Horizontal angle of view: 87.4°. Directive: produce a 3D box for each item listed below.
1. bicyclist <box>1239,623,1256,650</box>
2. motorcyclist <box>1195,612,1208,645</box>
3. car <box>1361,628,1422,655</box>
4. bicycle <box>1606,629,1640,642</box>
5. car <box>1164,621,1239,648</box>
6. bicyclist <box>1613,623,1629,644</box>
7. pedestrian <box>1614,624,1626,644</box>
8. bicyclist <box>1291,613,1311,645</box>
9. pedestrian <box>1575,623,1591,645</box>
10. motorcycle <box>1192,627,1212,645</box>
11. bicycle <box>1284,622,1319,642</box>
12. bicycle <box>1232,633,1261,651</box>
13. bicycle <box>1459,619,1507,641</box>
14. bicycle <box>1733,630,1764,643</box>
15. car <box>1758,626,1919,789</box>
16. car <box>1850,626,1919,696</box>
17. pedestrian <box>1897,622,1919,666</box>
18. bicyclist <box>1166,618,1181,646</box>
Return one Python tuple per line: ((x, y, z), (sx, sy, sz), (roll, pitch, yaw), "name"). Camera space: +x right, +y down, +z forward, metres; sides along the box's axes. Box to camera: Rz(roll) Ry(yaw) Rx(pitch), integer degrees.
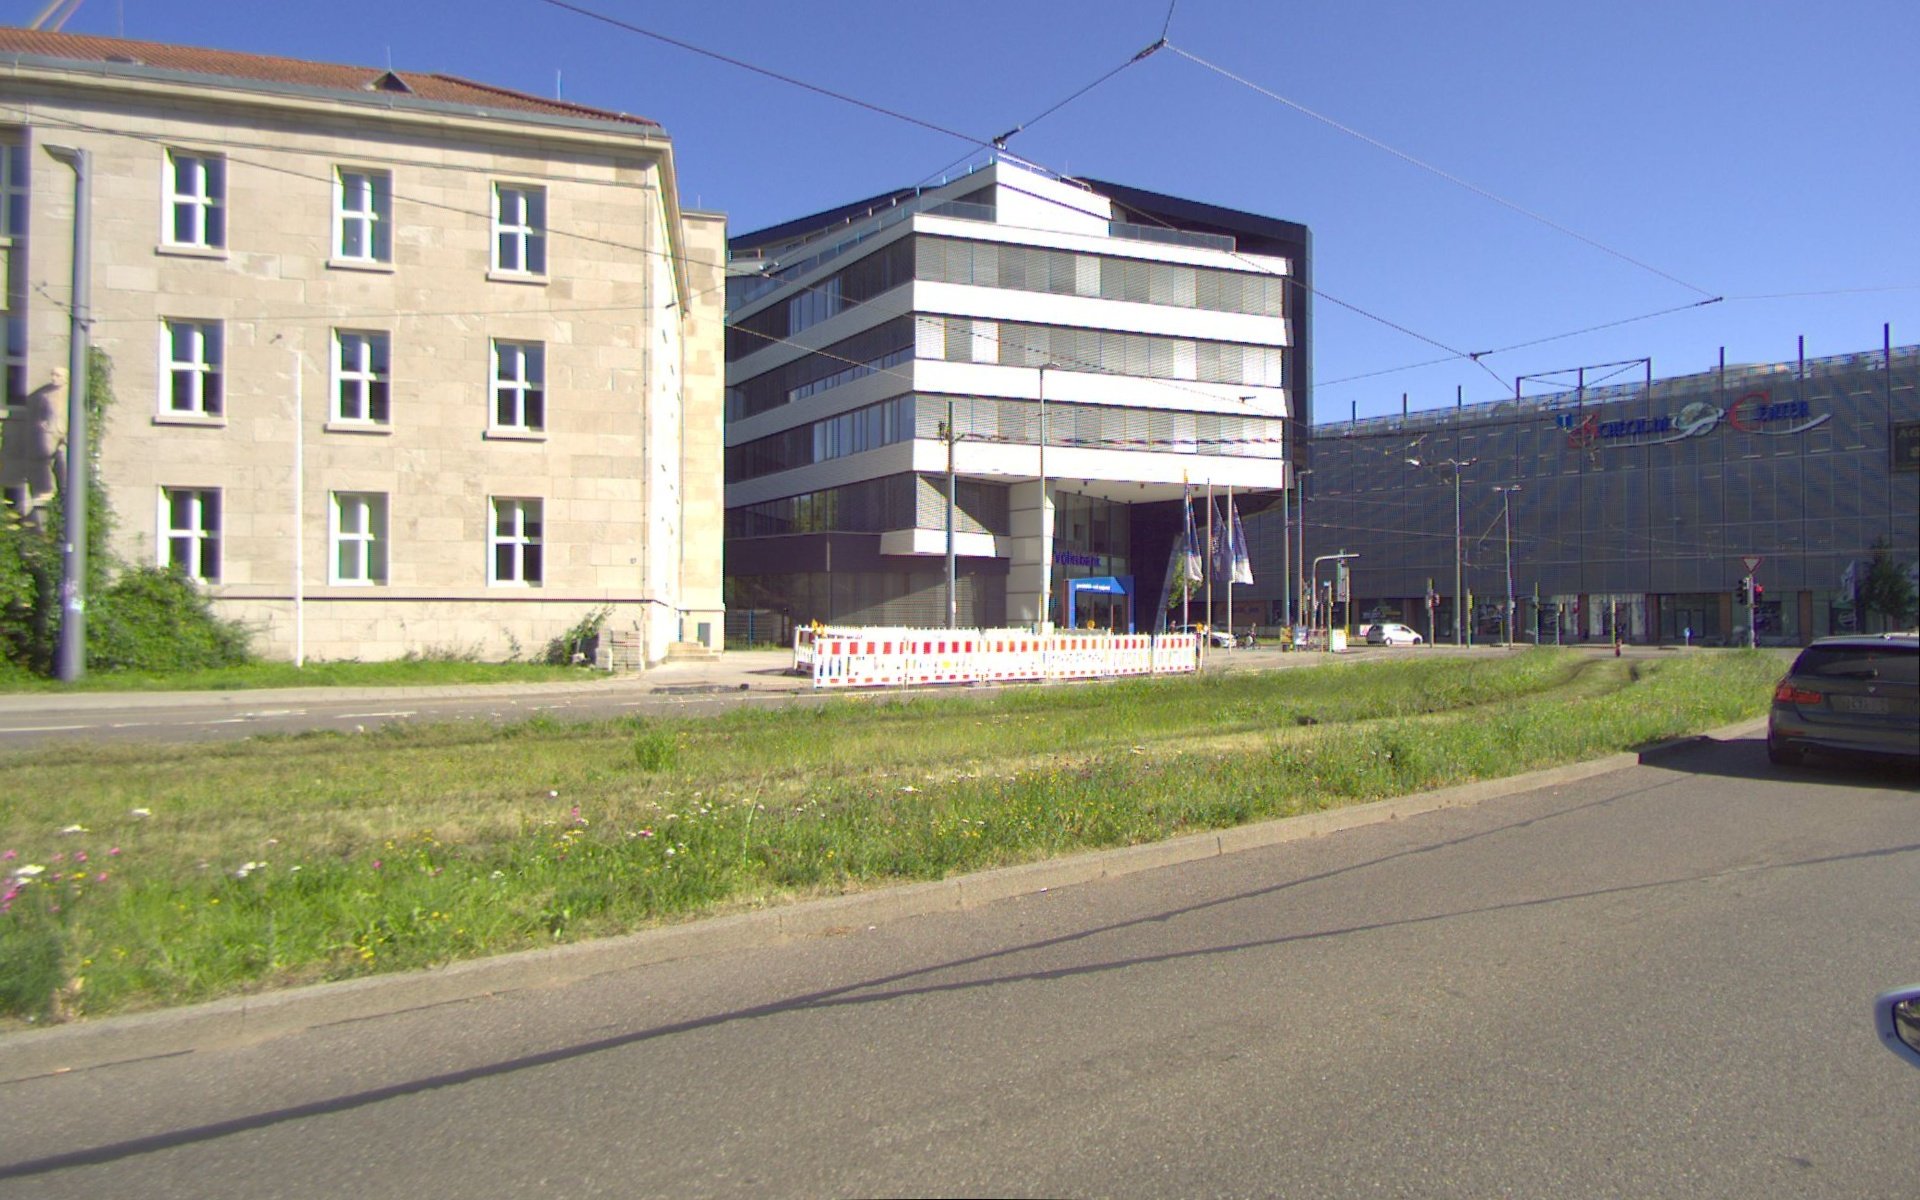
((17.636, 2.221, 61.619), (0.772, 1.670, 0.688), (-1, -1, 36), "bicyclist")
((15.146, 1.799, 62.935), (0.620, 2.040, 0.495), (-1, -1, 38), "motorcyclist")
((31.144, 3.010, 72.558), (3.940, 1.817, 1.750), (2, -1, -21), "car")
((56.052, 3.037, 84.925), (2.201, 1.085, 1.046), (0, -1, -2), "bicycle")
((15.801, 2.216, 65.822), (4.432, 1.657, 1.832), (-1, 0, 37), "car")
((55.914, 2.834, 84.941), (0.829, 1.827, 0.816), (0, -1, -3), "bicyclist")
((59.791, 3.052, 91.037), (0.837, 1.787, 0.617), (-1, -1, 38), "pedestrian")
((20.267, 1.707, 59.707), (0.891, 1.884, 0.851), (-1, -1, 39), "bicyclist")
((53.974, 2.913, 87.038), (0.806, 1.893, 0.905), (0, -1, -9), "pedestrian")
((15.155, 2.240, 62.920), (1.171, 1.136, 0.481), (-1, -1, 38), "motorcycle")
((20.273, 1.899, 59.683), (1.806, 1.131, 0.850), (-1, -2, 39), "bicycle")
((17.621, 2.576, 61.704), (1.555, 1.121, 0.732), (-1, -2, 35), "bicycle")
((51.242, 2.911, 98.440), (3.939, 2.040, 1.324), (0, 0, 39), "bicycle")
((66.138, 3.063, 84.259), (2.001, 1.073, 1.140), (-1, -2, 38), "bicycle")
((10.270, 1.072, 10.942), (4.434, 1.442, 1.718), (2, 0, -42), "car")
((21.712, 1.374, 23.056), (1.612, 1.442, 3.767), (3, 0, 38), "car")
((37.605, 1.725, 39.596), (0.875, 1.730, 0.710), (-1, -1, 38), "pedestrian")
((13.846, 2.062, 65.147), (0.753, 1.812, 0.761), (0, -1, 35), "bicyclist")
